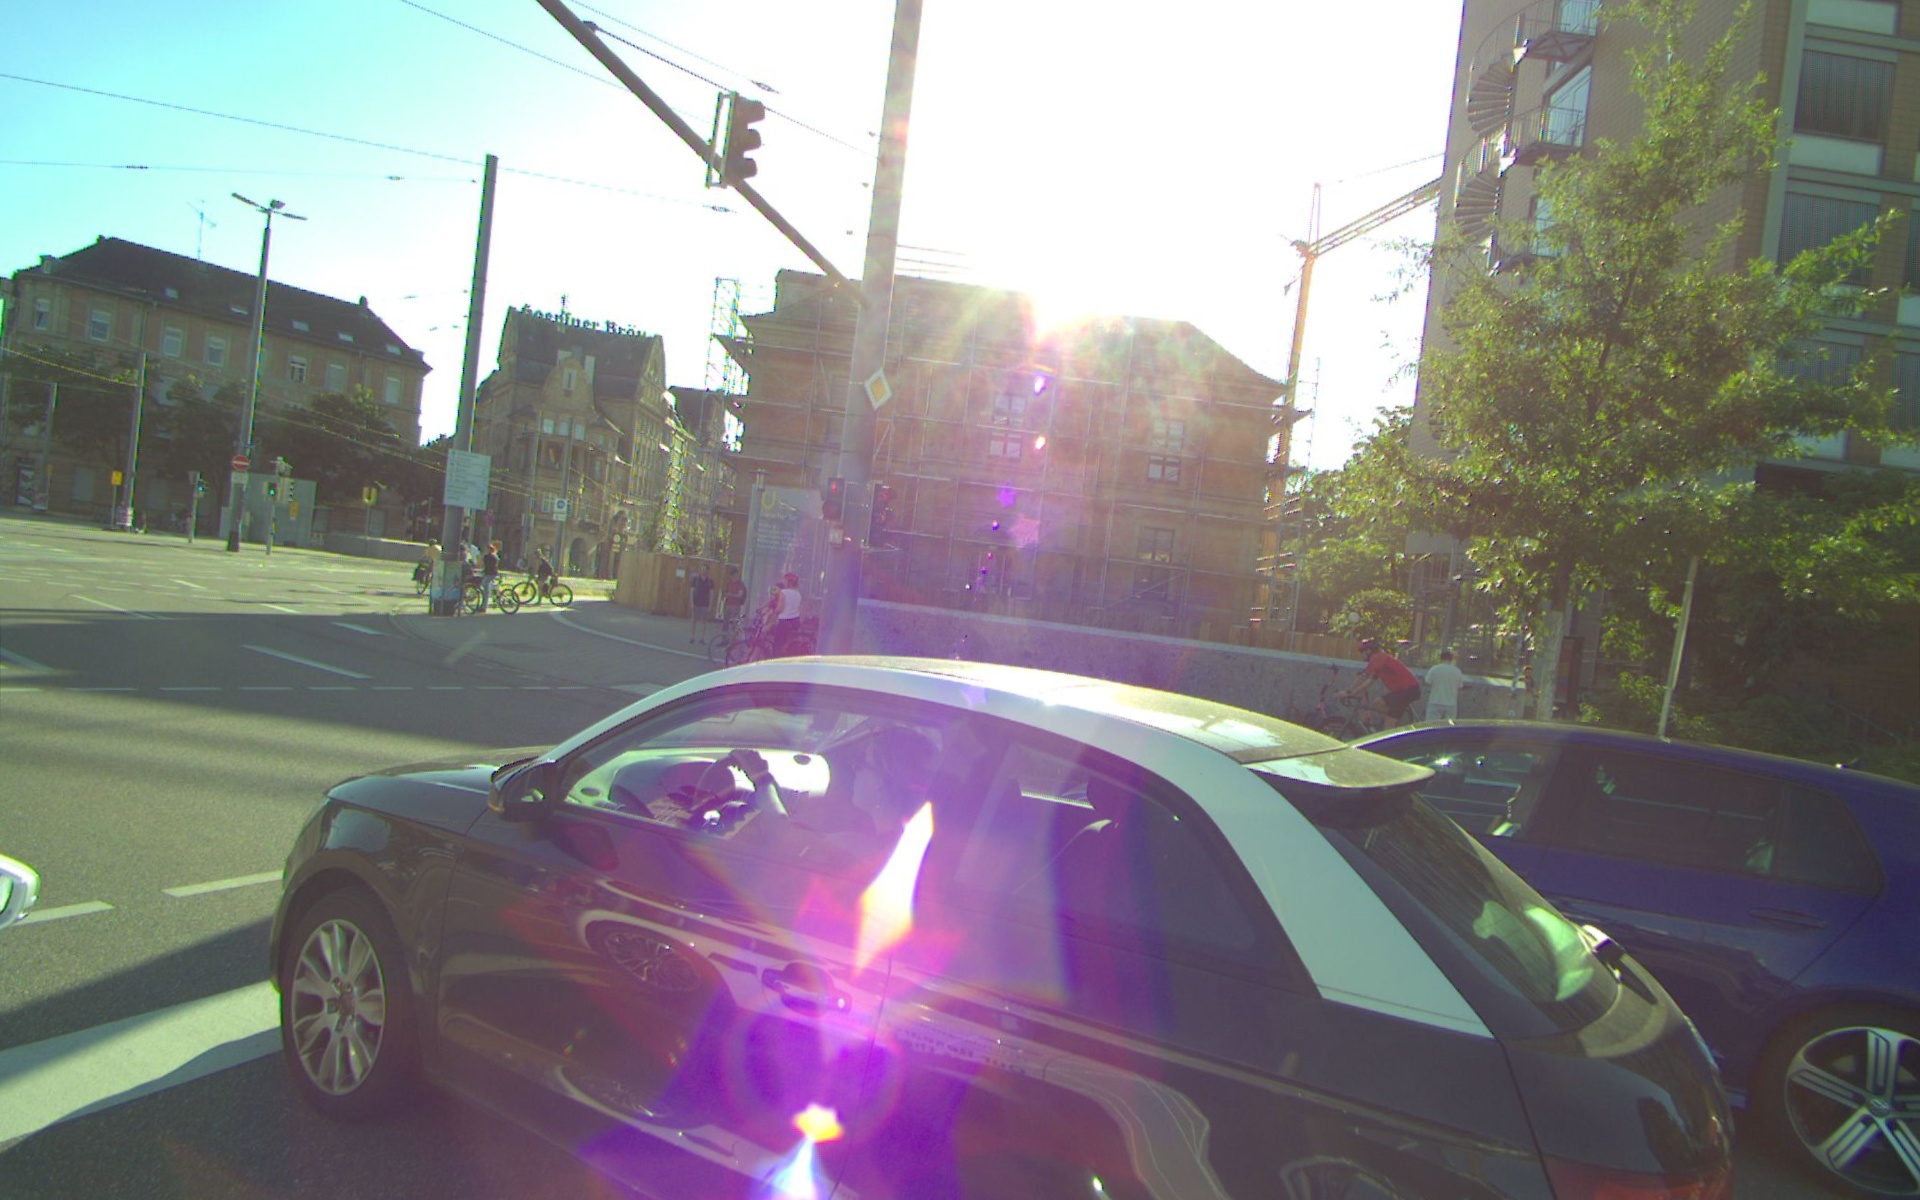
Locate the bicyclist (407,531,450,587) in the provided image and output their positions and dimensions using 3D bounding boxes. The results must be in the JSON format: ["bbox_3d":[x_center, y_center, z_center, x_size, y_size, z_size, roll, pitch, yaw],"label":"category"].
[{"bbox_3d":[-16.080,-1.243,30.433,0.930,1.575,0.516,6,-1,23],"label":"bicyclist"}]

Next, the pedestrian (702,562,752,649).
[{"bbox_3d":[-5.172,0.140,22.359,0.672,1.828,0.673,7,-1,10],"label":"pedestrian"}]

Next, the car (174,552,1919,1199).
[{"bbox_3d":[-0.148,0.816,2.653,3.933,1.420,1.627,6,-2,31],"label":"car"}]

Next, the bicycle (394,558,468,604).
[{"bbox_3d":[-15.960,-0.577,30.349,2.278,1.061,0.536,8,-1,23],"label":"bicycle"}]

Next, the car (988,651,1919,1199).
[{"bbox_3d":[2.299,1.212,4.663,3.933,1.420,1.627,6,-2,31],"label":"car"}]

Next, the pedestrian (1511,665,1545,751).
[{"bbox_3d":[11.939,2.257,21.164,0.369,1.752,0.444,6,-1,16],"label":"pedestrian"}]

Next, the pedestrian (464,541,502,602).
[{"bbox_3d":[-15.975,-0.949,33.710,0.678,1.945,0.649,6,-1,24],"label":"pedestrian"}]

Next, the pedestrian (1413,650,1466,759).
[{"bbox_3d":[7.769,1.667,16.302,0.592,1.662,0.677,6,2,29],"label":"pedestrian"}]

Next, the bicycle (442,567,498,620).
[{"bbox_3d":[-11.756,-0.177,24.107,0.695,1.061,2.297,9,-1,-36],"label":"bicycle"}]

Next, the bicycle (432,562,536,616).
[{"bbox_3d":[-12.088,-0.283,25.572,2.276,1.061,0.702,7,-1,7],"label":"bicycle"}]

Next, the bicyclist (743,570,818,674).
[{"bbox_3d":[-2.926,0.365,16.407,0.780,1.571,0.668,6,-1,27],"label":"bicyclist"}]

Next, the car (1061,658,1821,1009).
[{"bbox_3d":[3.188,1.436,7.414,4.435,1.420,1.727,6,-2,30],"label":"car"}]

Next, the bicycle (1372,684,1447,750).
[{"bbox_3d":[8.013,2.071,17.968,0.352,1.015,1.149,7,-2,-29],"label":"bicycle"}]

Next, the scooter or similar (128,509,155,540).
[{"bbox_3d":[-41.651,-3.842,51.199,0.784,1.392,1.884,8,-2,-44],"label":"scooter or similar"}]

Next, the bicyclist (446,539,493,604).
[{"bbox_3d":[-11.845,-0.698,24.299,0.704,1.456,0.938,8,-2,-37],"label":"bicyclist"}]

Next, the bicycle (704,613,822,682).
[{"bbox_3d":[-3.491,0.825,17.804,1.999,0.976,0.659,6,2,26],"label":"bicycle"}]

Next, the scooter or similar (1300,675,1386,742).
[{"bbox_3d":[6.881,1.943,18.086,1.348,1.007,0.342,6,-1,24],"label":"scooter or similar"}]

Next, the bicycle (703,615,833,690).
[{"bbox_3d":[-3.155,0.851,16.477,1.999,0.974,0.660,6,-2,26],"label":"bicycle"}]

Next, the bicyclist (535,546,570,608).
[{"bbox_3d":[-12.498,-0.701,30.822,0.785,1.800,0.520,7,-1,-24],"label":"bicyclist"}]

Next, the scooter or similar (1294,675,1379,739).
[{"bbox_3d":[6.993,1.984,18.741,1.346,1.007,0.343,7,-1,12],"label":"scooter or similar"}]

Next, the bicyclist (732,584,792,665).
[{"bbox_3d":[-3.508,0.446,17.828,0.661,1.330,0.617,6,-1,27],"label":"bicyclist"}]

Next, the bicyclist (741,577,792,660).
[{"bbox_3d":[-3.651,0.363,19.017,0.661,1.471,0.618,7,-1,2],"label":"bicyclist"}]

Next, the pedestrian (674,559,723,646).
[{"bbox_3d":[-5.849,0.059,22.506,0.672,1.830,0.672,7,2,10],"label":"pedestrian"}]

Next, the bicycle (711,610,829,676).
[{"bbox_3d":[-3.582,0.798,19.014,1.997,0.976,0.660,7,2,4],"label":"bicycle"}]

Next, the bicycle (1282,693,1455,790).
[{"bbox_3d":[5.512,1.876,13.652,2.004,0.975,0.658,6,0,37],"label":"bicycle"}]

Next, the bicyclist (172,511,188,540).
[{"bbox_3d":[-49.638,-4.752,64.046,0.512,1.720,0.514,6,-1,38],"label":"bicyclist"}]

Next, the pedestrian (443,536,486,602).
[{"bbox_3d":[-16.267,-1.017,33.037,0.748,2.037,0.733,6,-1,24],"label":"pedestrian"}]

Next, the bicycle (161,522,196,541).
[{"bbox_3d":[-49.719,-4.361,63.996,0.649,0.963,1.596,6,-2,37],"label":"bicycle"}]

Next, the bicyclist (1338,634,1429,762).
[{"bbox_3d":[5.710,1.314,13.559,0.858,1.578,0.616,6,-1,36],"label":"bicyclist"}]

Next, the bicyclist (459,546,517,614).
[{"bbox_3d":[-11.986,-0.504,25.563,0.929,1.575,0.711,7,-1,7],"label":"bicyclist"}]

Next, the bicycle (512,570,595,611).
[{"bbox_3d":[-12.467,-0.293,30.864,2.290,1.063,0.532,5,2,-25],"label":"bicycle"}]
